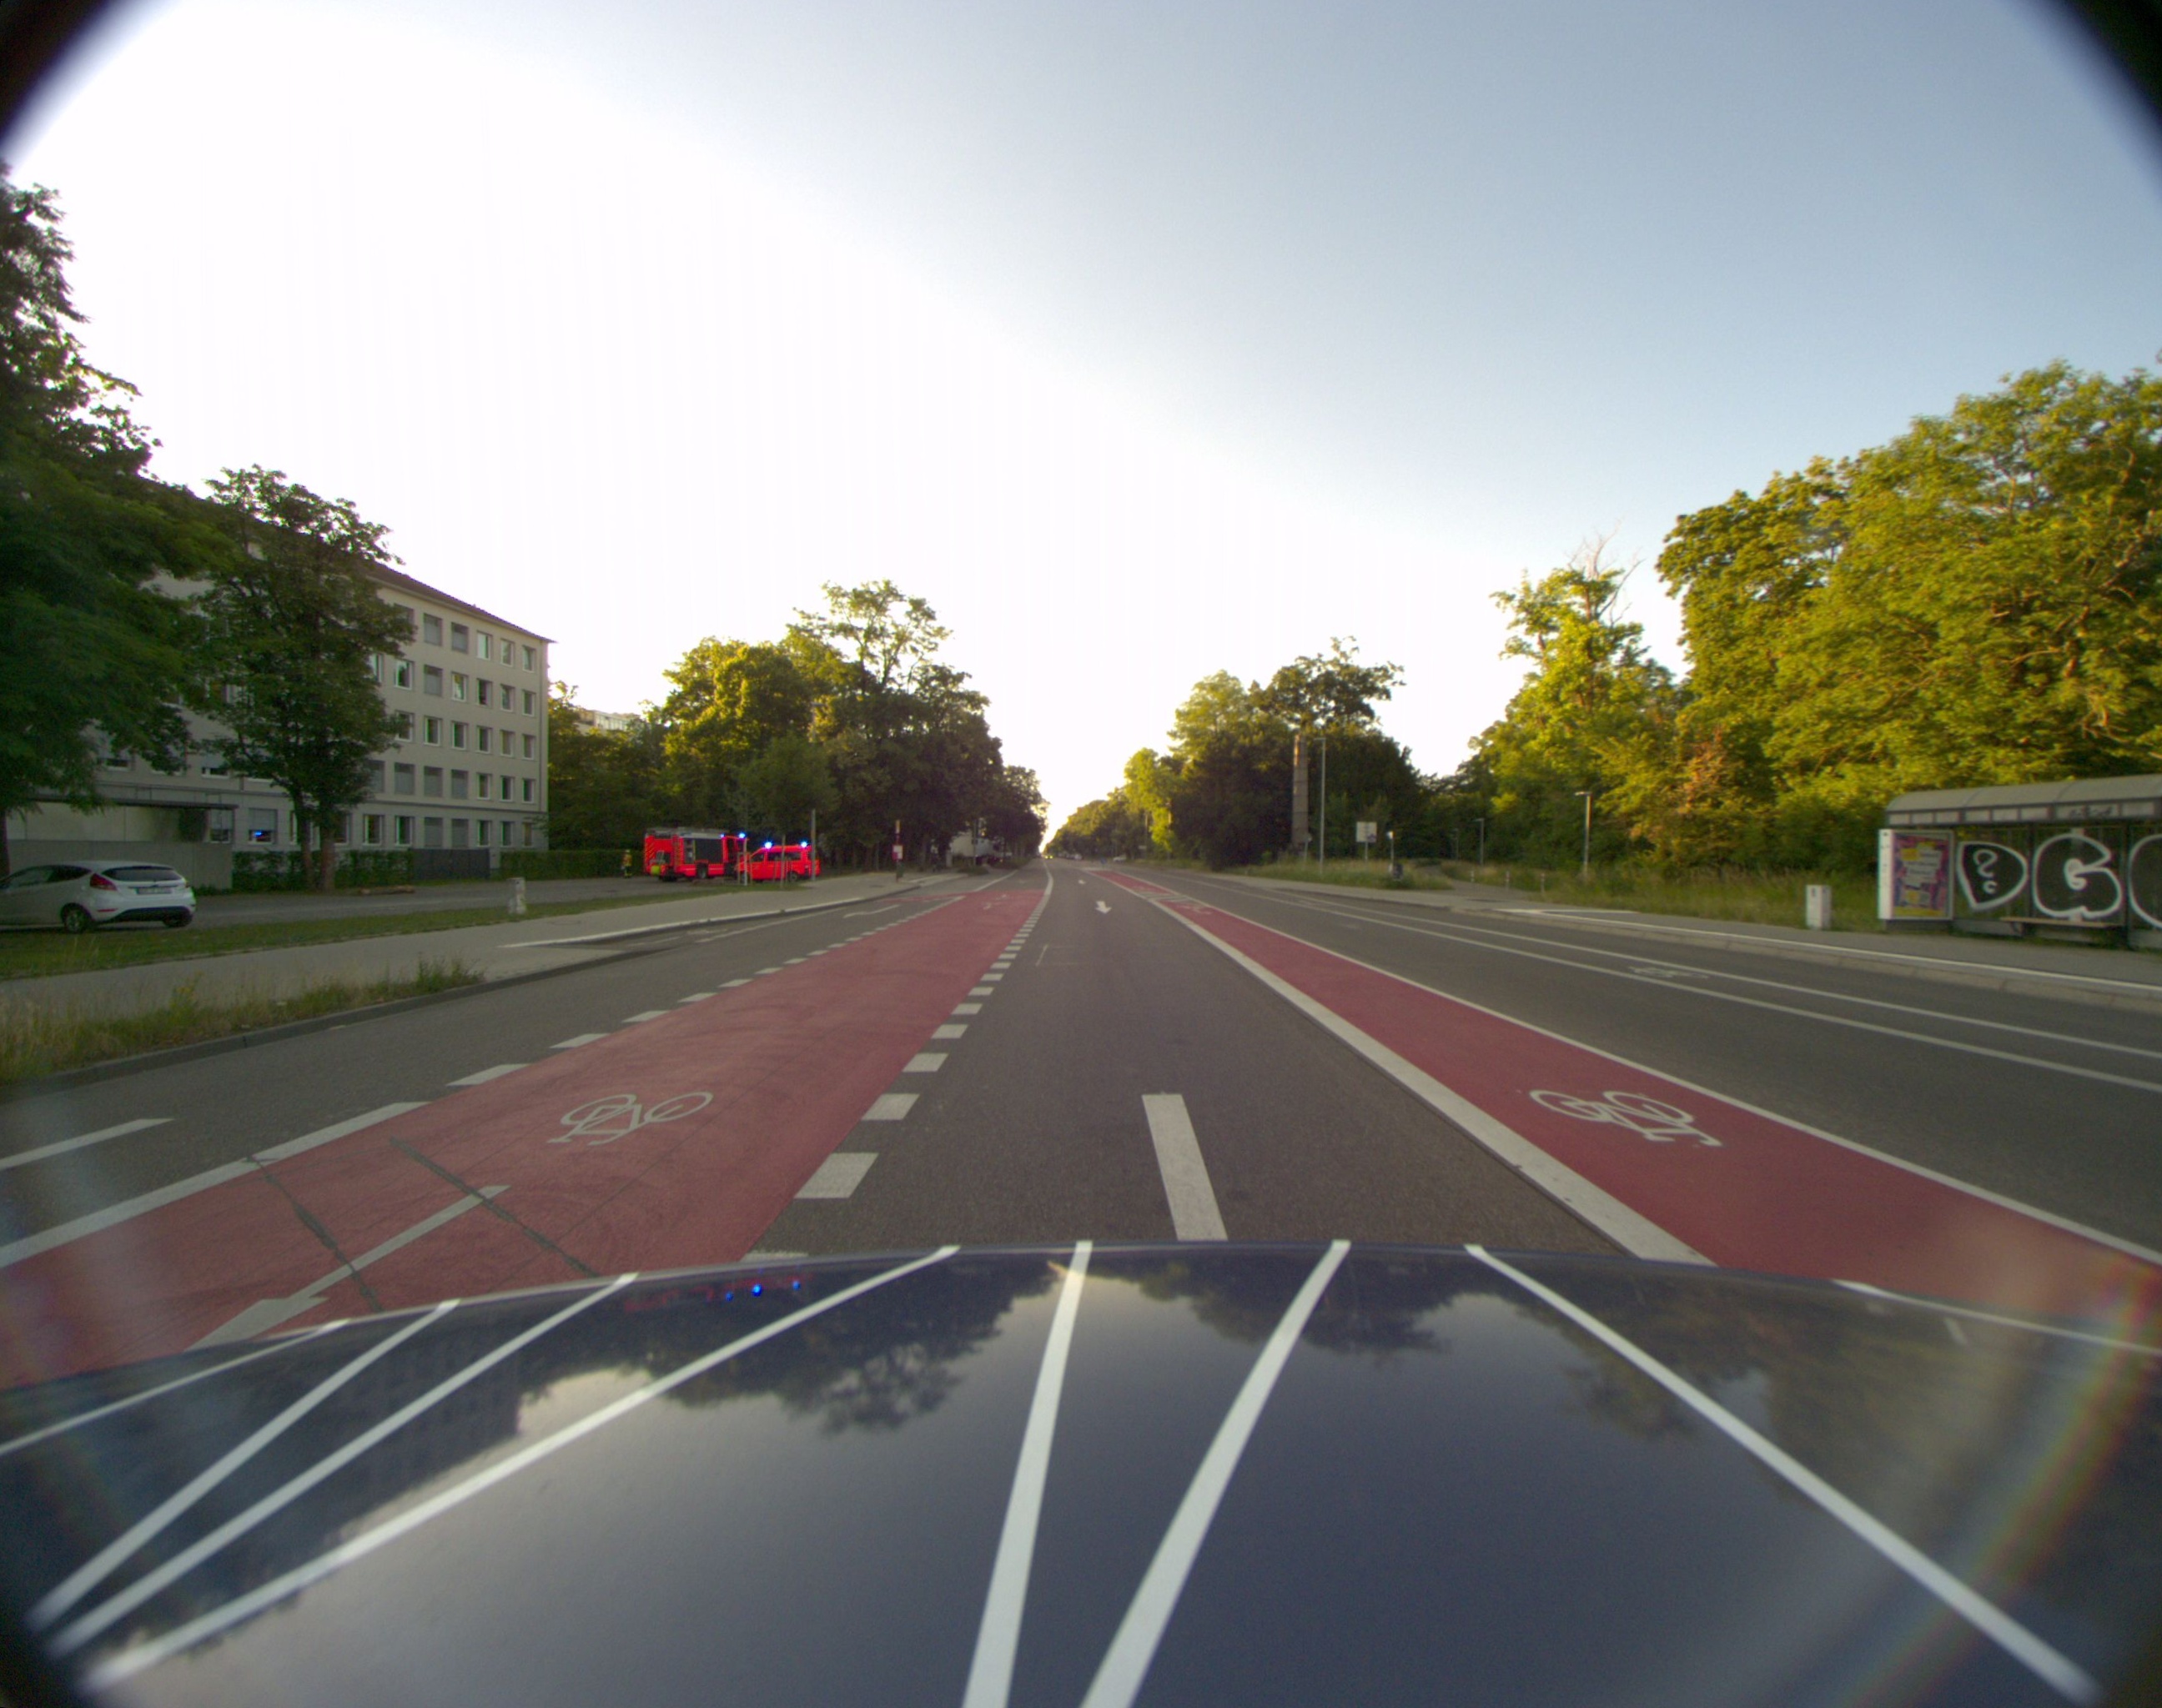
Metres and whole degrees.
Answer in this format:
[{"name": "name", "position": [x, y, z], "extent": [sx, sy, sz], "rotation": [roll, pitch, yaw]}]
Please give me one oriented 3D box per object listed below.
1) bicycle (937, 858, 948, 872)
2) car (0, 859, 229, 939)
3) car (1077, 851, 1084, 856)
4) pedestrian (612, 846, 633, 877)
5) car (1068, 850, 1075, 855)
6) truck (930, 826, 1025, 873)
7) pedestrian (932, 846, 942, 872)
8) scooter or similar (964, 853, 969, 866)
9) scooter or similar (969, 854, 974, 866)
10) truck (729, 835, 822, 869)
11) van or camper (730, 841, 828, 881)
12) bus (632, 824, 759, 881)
[{"name": "bicycle", "position": [-10.873, 0.865, 59.610], "extent": [0.833, 1.091, 1.967], "rotation": [0, 0, -11]}, {"name": "car", "position": [-20.940, 0.907, 15.988], "extent": [3.996, 1.528, 1.912], "rotation": [-1, 1, 4]}, {"name": "car", "position": [-0.192, -0.104, 198.789], "extent": [1.851, 1.406, 4.180], "rotation": [0, 0, 0]}, {"name": "pedestrian", "position": [-29.857, 0.485, 49.469], "extent": [0.772, 2.002, 0.826], "rotation": [0, 1, 9]}, {"name": "car", "position": [-2.758, -0.407, 220.179], "extent": [1.754, 1.299, 3.999], "rotation": [1, 0, -2]}, {"name": "truck", "position": [-13.487, -0.569, 97.002], "extent": [5.169, 5.542, 15.041], "rotation": [0, 1, -38]}, {"name": "pedestrian", "position": [-11.281, 0.415, 59.413], "extent": [0.725, 2.002, 0.695], "rotation": [0, 1, -7]}, {"name": "scooter or similar", "position": [-12.227, 0.588, 81.427], "extent": [0.483, 1.274, 1.230], "rotation": [2, 0, -8]}, {"name": "scooter or similar", "position": [-11.950, 0.609, 83.158], "extent": [0.483, 1.274, 1.139], "rotation": [2, 0, -8]}, {"name": "truck", "position": [-29.819, -0.239, 74.159], "extent": [8.645, 3.192, 2.765], "rotation": [0, 0, 17]}, {"name": "van or camper", "position": [-17.778, 0.414, 44.881], "extent": [4.822, 2.232, 2.296], "rotation": [-1, 1, 9]}, {"name": "bus", "position": [-23.679, -0.110, 47.282], "extent": [2.993, 3.177, 7.968], "rotation": [-1, 0, 8]}]
